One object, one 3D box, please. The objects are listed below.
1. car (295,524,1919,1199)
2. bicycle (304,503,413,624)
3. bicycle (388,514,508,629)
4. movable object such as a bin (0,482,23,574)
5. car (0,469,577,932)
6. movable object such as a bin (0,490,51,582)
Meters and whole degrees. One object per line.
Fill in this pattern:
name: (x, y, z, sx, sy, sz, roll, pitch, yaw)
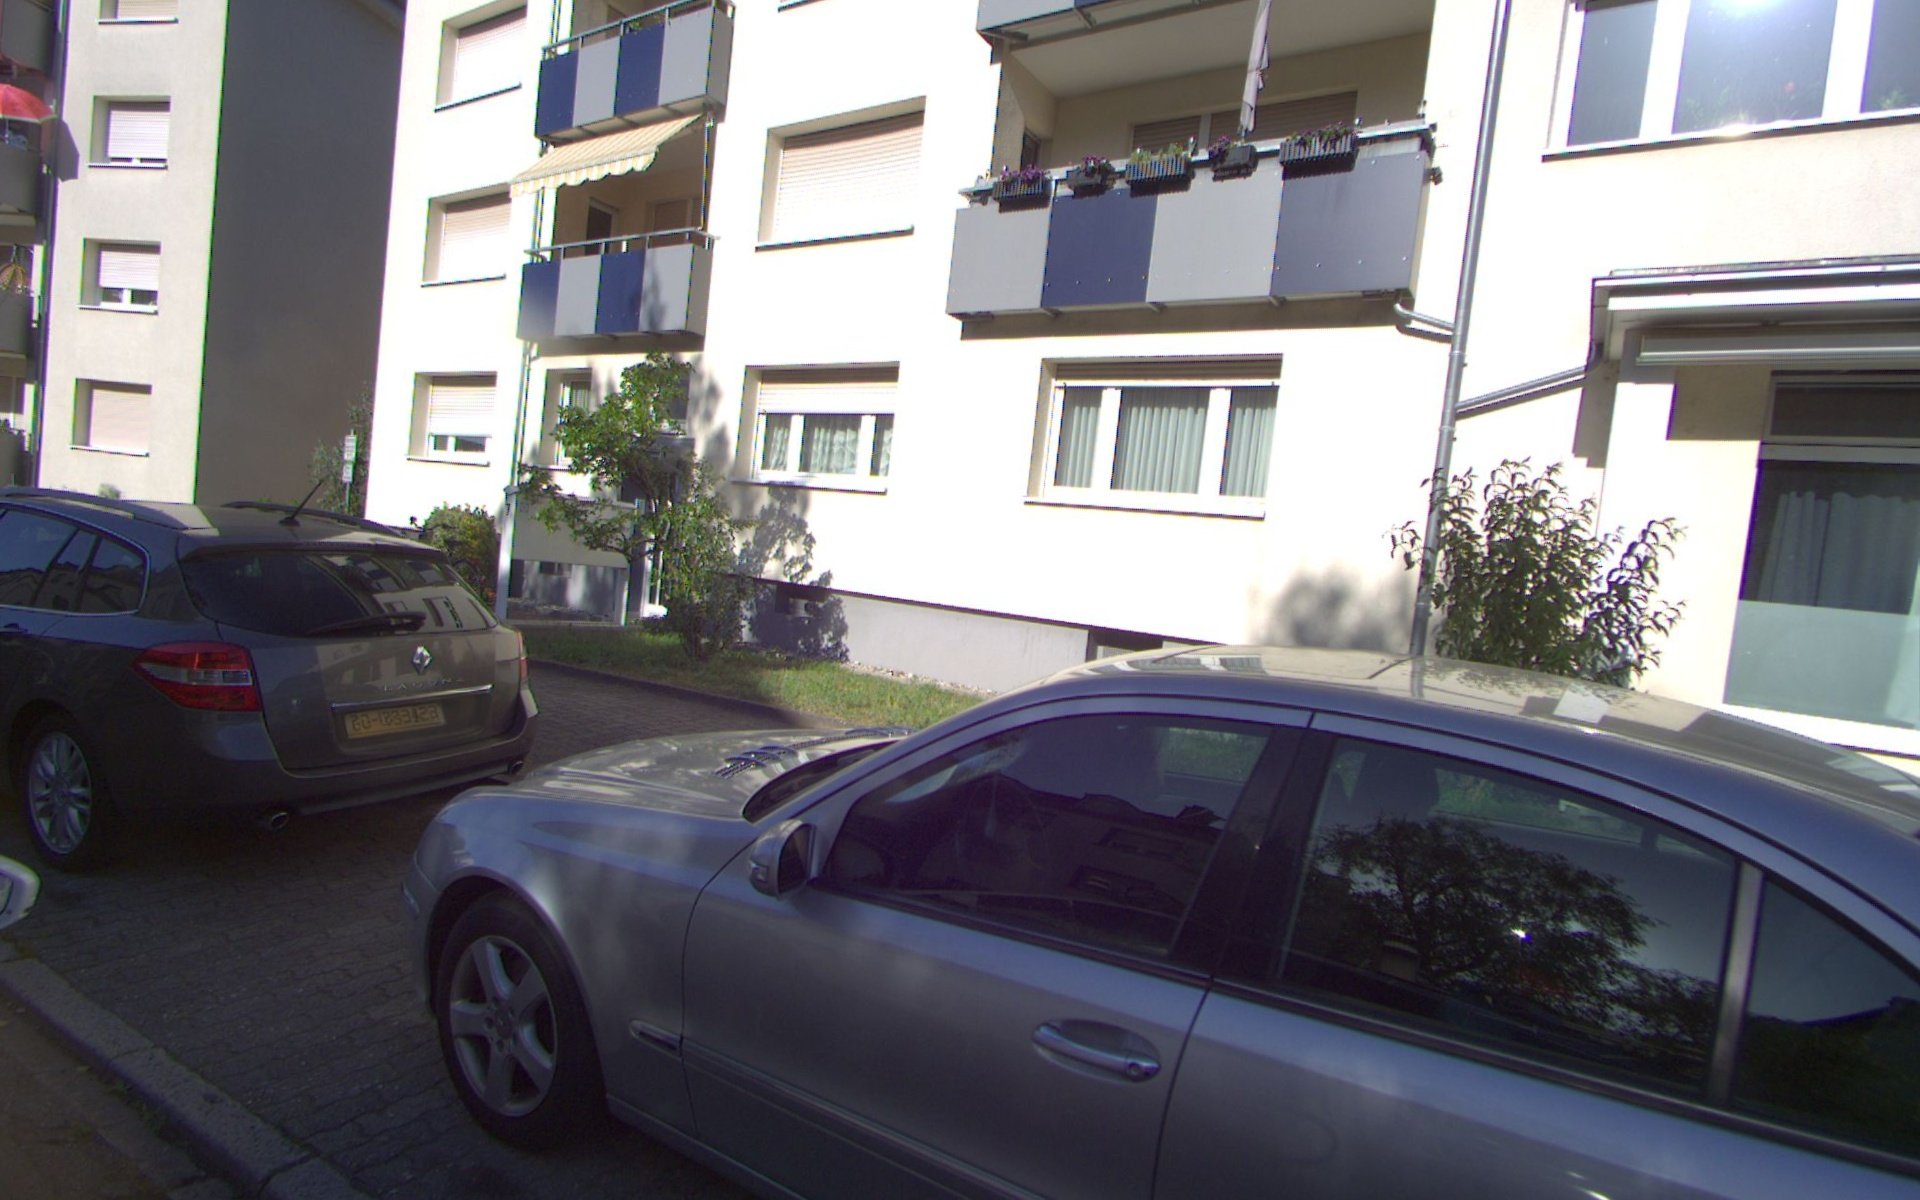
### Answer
car: (0.536, 0.803, 2.389, 4.646, 1.465, 1.679, 7, 1, 32)
bicycle: (-6.973, -0.444, 11.627, 1.735, 1.220, 0.513, 9, 6, 39)
bicycle: (-6.286, -0.371, 12.311, 1.804, 1.220, 0.513, 8, 6, 36)
movable object such as a bin: (-12.190, -0.917, 12.539, 0.671, 1.111, 0.583, 8, 6, 29)
car: (-4.360, 0.150, 5.122, 4.603, 1.452, 1.695, 7, 5, 24)
movable object such as a bin: (-11.531, -0.784, 12.182, 0.630, 1.072, 0.583, 6, 6, 30)
